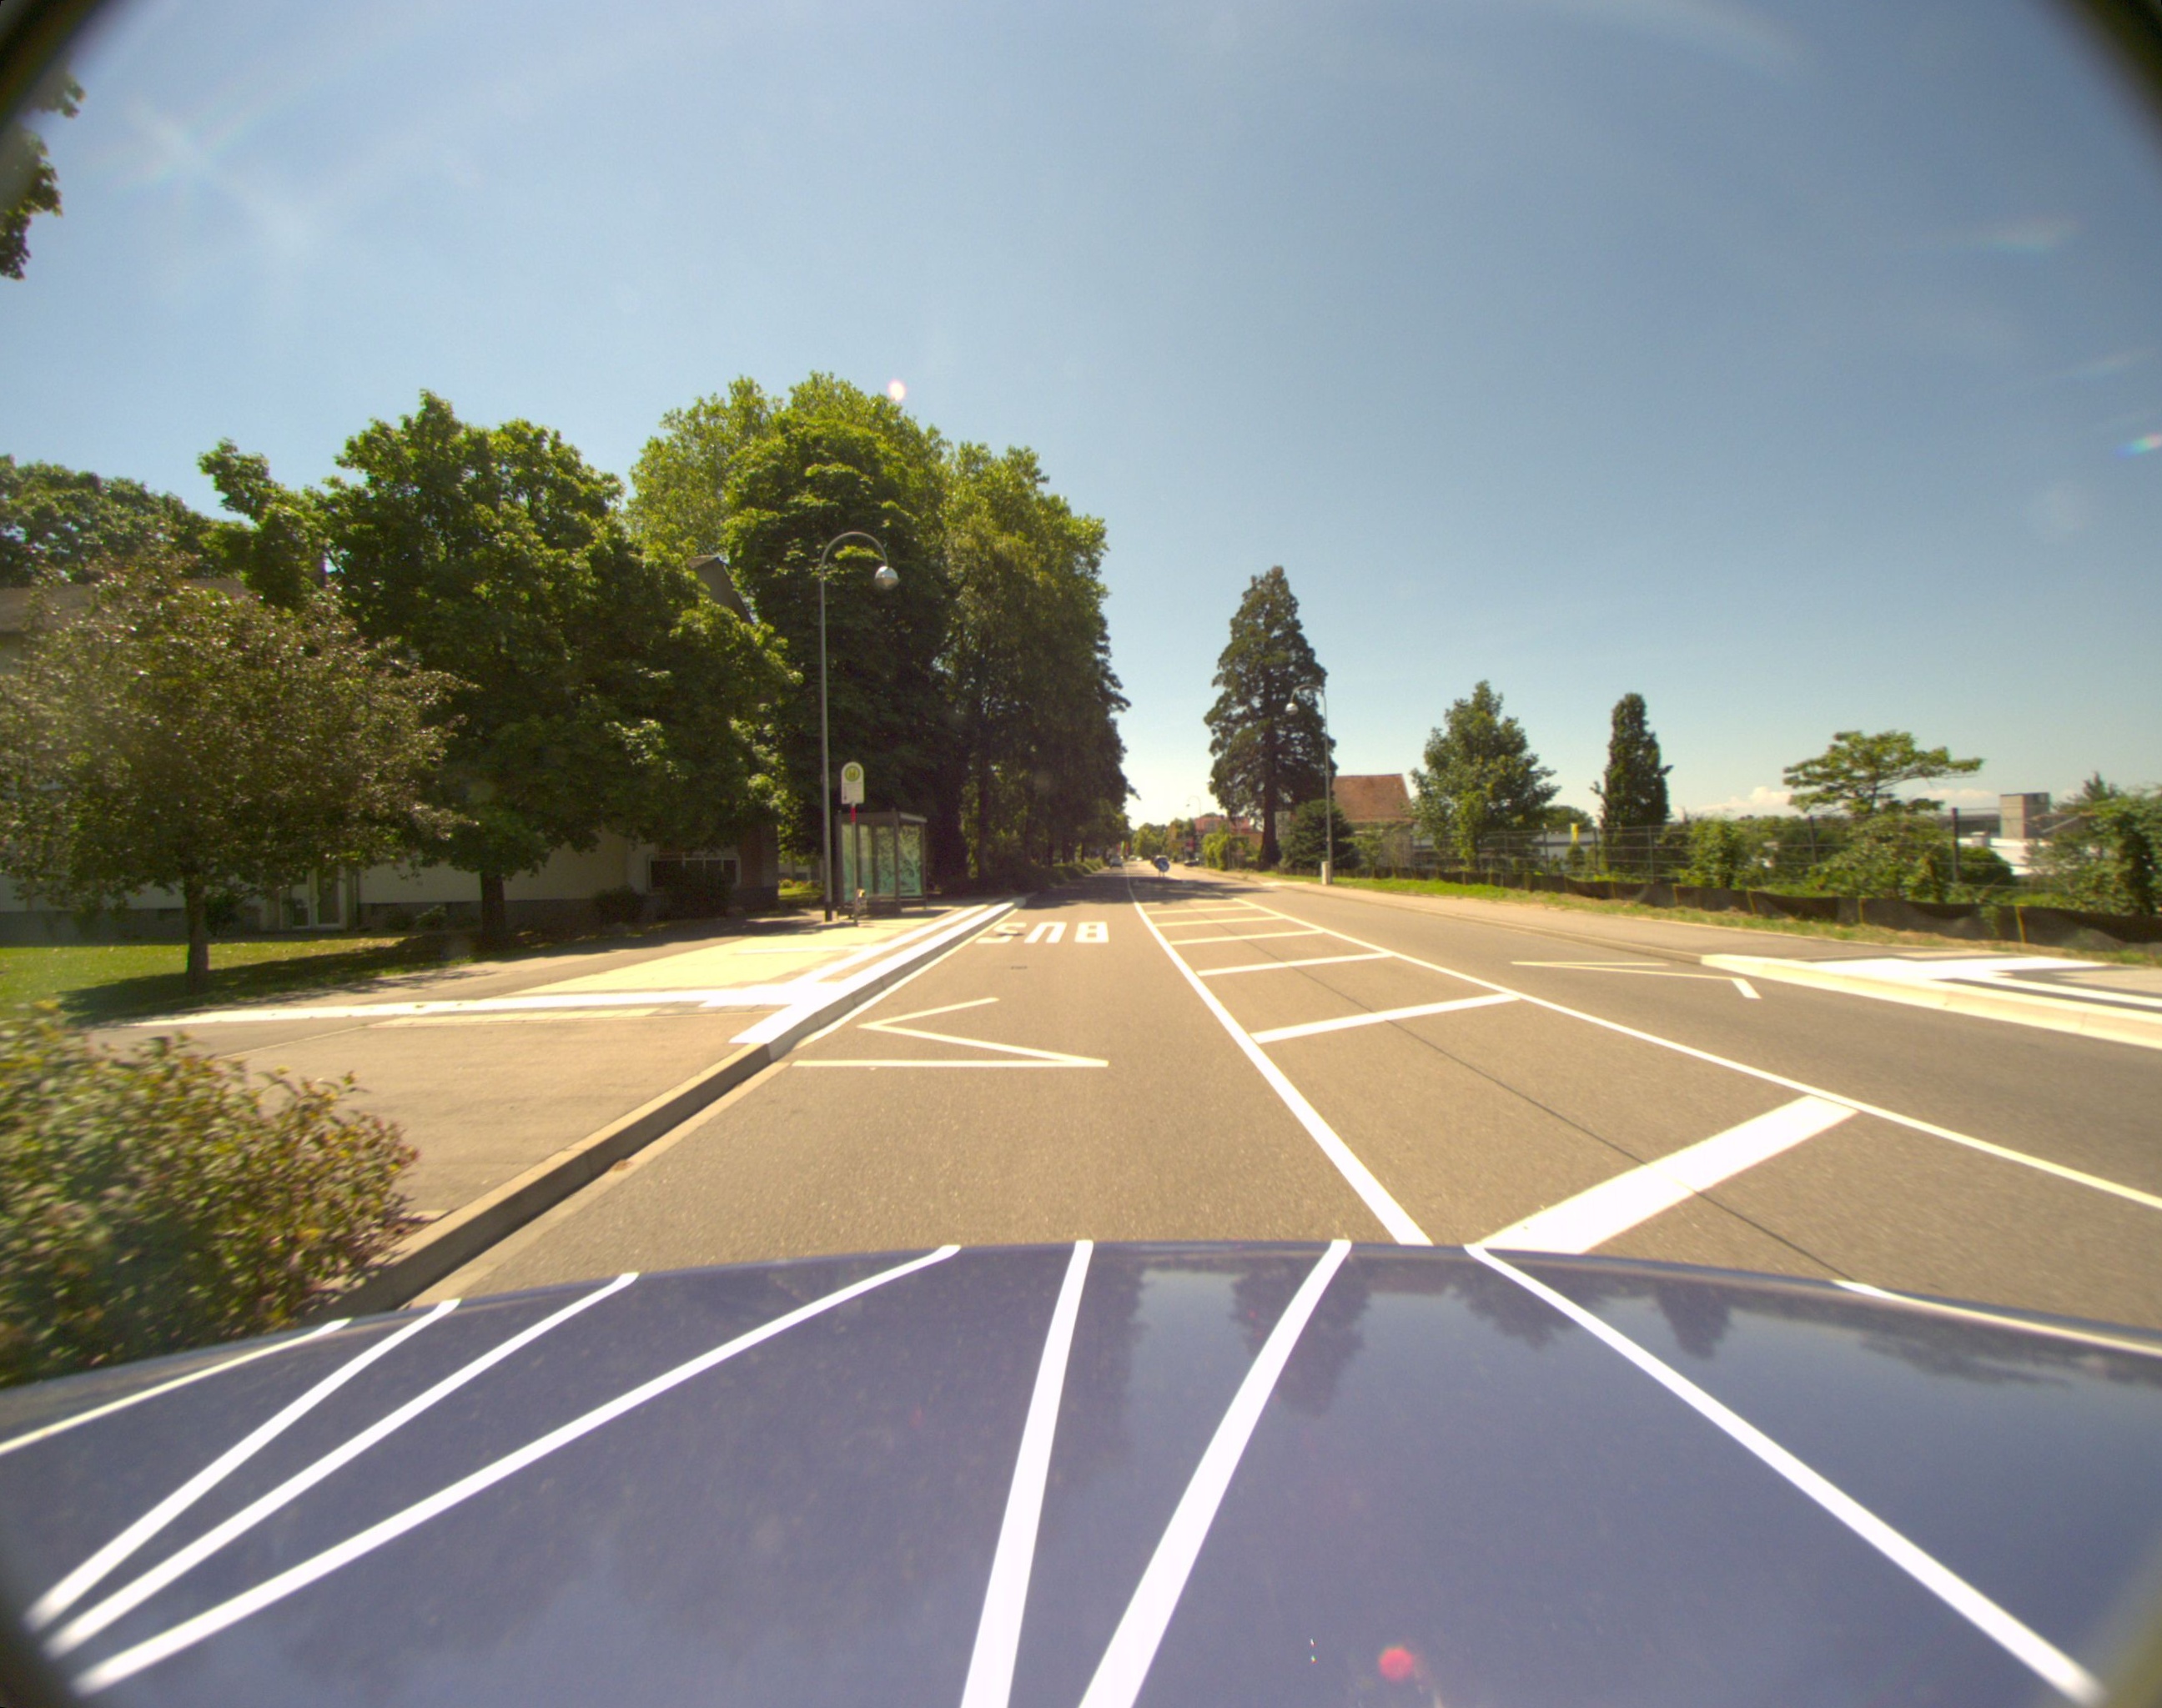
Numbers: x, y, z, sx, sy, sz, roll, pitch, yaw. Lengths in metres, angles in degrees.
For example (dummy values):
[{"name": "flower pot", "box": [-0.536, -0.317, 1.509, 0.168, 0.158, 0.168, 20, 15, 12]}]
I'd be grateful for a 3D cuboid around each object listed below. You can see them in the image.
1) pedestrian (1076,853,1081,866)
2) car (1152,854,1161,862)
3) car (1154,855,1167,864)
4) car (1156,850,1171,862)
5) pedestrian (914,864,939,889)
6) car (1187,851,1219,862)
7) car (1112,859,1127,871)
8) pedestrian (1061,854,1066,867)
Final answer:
[{"name": "pedestrian", "box": [-0.330, 0.860, 118.312, 0.677, 1.914, 0.621, -1, 1, 3]}, {"name": "car", "box": [15.559, 0.809, 156.854, 1.883, 1.731, 4.322, -1, 0, 5]}, {"name": "car", "box": [13.788, 0.997, 132.231, 1.883, 1.540, 4.321, -1, 0, 2]}, {"name": "car", "box": [11.908, 0.326, 110.248, 1.787, 1.635, 4.689, 1, 0, 2]}, {"name": "pedestrian", "box": [-8.301, 1.222, 40.885, 0.940, 1.285, 1.070, -1, 1, 15]}, {"name": "car", "box": [17.637, 0.320, 110.055, 4.310, 1.540, 1.888, -1, 0, 22]}, {"name": "car", "box": [5.339, 1.525, 105.012, 1.883, 1.623, 4.322, -1, 0, 5]}, {"name": "pedestrian", "box": [-2.559, 0.982, 113.422, 0.677, 1.914, 0.621, -1, 1, 3]}]
